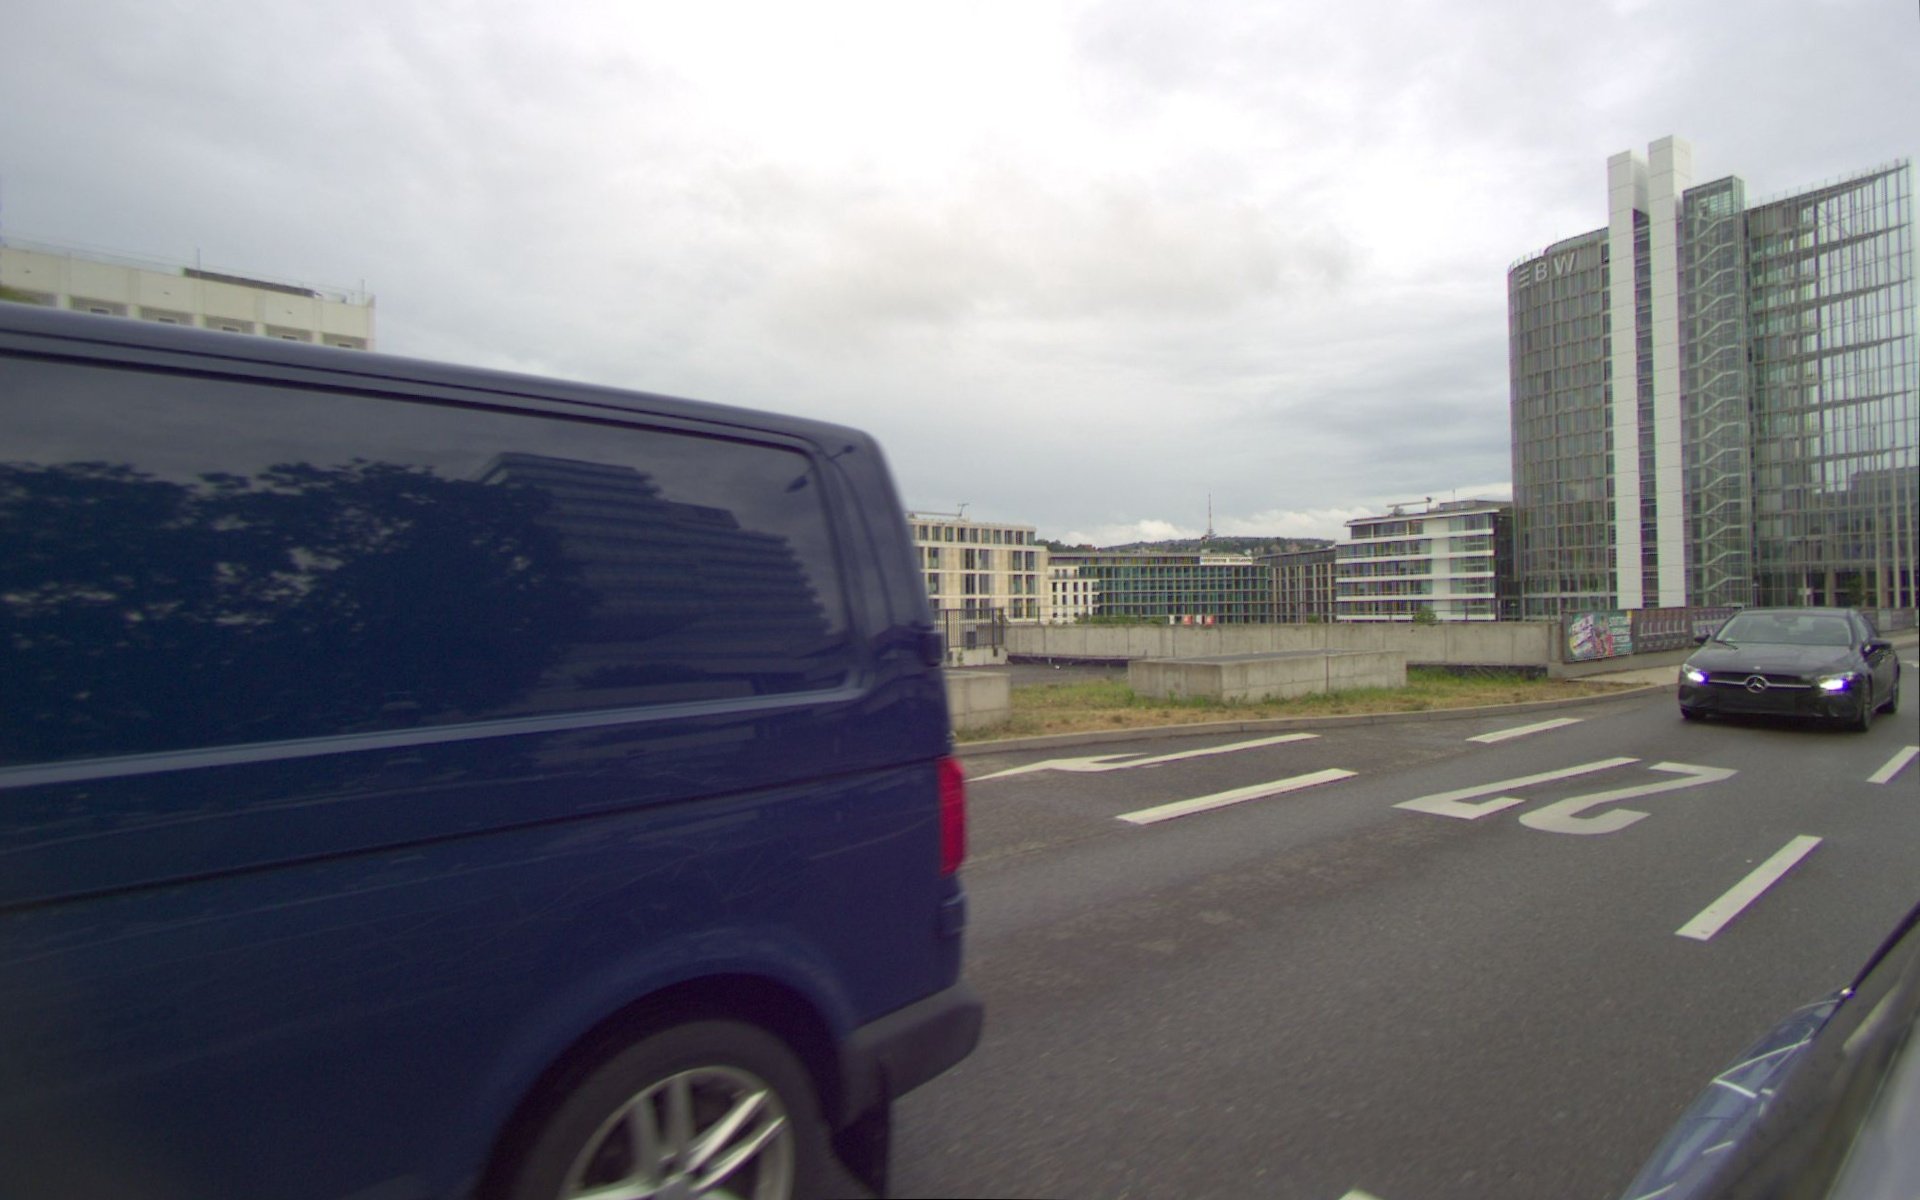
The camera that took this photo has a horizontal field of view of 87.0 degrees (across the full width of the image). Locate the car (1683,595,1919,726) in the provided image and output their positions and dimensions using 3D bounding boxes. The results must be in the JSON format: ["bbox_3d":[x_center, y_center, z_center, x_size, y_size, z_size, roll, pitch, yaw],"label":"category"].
[{"bbox_3d":[10.771,0.638,12.834,4.083,1.393,1.726,0,0,-41],"label":"car"}]

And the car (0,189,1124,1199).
[{"bbox_3d":[-2.146,0.437,1.706,4.951,1.906,2.037,1,0,-40],"label":"car"}]
